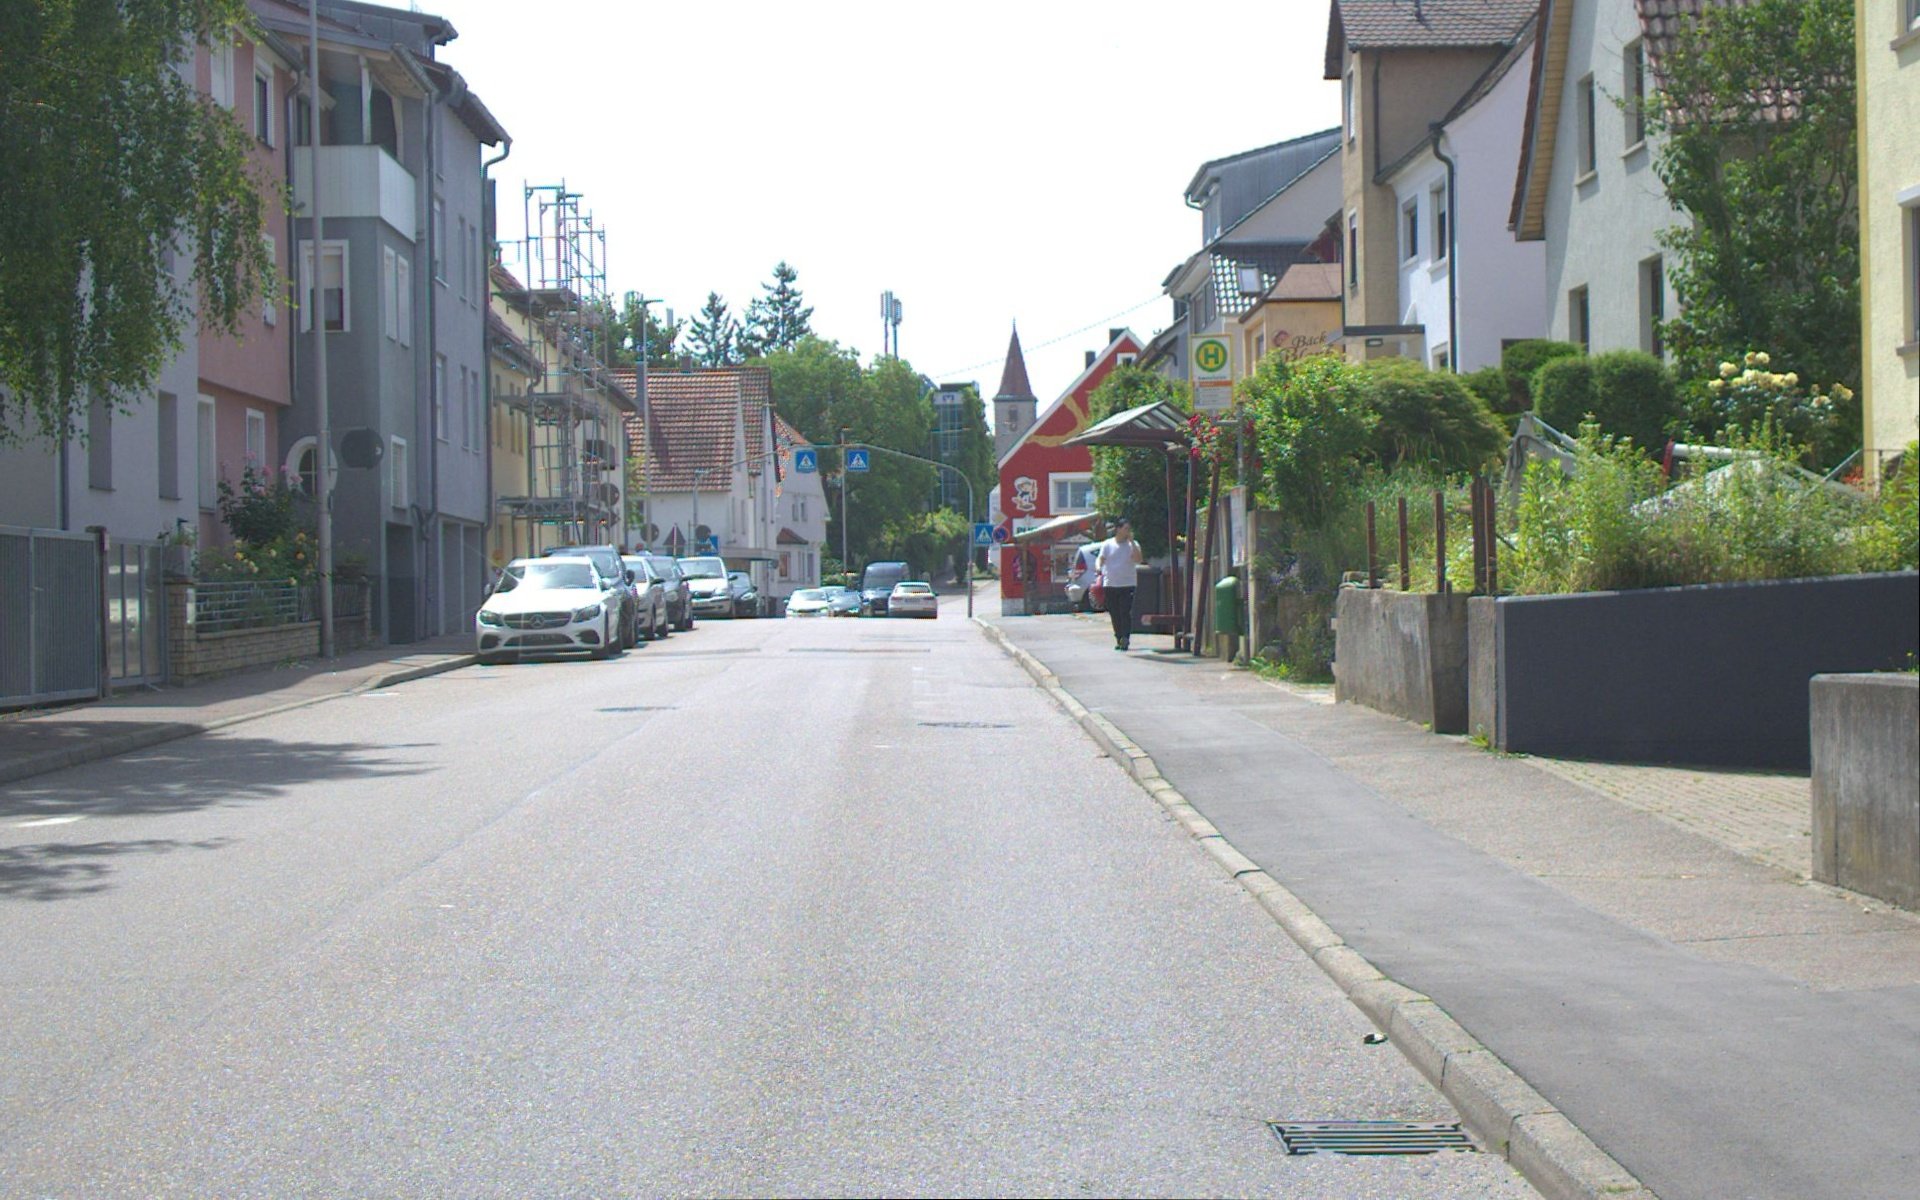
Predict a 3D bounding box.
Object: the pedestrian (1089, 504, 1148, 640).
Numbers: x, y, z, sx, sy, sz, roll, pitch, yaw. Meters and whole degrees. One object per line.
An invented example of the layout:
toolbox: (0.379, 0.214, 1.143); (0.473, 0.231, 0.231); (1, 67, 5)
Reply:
pedestrian: (2.048, -0.363, 44.552); (0.646, 1.724, 0.608); (-3, 1, -1)

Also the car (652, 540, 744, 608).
car: (-6.448, -0.663, 84.968); (1.993, 1.555, 4.314); (-2, 1, -1)

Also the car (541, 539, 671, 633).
car: (-6.196, -0.277, 60.625); (1.993, 1.555, 4.314); (-1, 1, -2)

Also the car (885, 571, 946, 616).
car: (-1.661, -0.245, 127.531); (1.993, 1.555, 4.314); (-1, 1, -4)

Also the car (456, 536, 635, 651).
car: (-5.892, -0.128, 49.335); (2.110, 1.555, 4.314); (-1, 1, -1)

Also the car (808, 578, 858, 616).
car: (-5.235, -0.134, 141.839); (1.840, 1.459, 4.000); (-2, 1, 1)

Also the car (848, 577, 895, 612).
car: (-4.044, -0.272, 157.517); (1.840, 1.459, 4.000); (-2, 1, 3)

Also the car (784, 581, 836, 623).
car: (-5.699, 0.054, 131.122); (1.840, 1.459, 4.000); (-2, 1, -1)

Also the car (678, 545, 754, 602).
car: (-6.950, -0.776, 98.228); (1.993, 1.555, 4.314); (-2, 1, -3)
